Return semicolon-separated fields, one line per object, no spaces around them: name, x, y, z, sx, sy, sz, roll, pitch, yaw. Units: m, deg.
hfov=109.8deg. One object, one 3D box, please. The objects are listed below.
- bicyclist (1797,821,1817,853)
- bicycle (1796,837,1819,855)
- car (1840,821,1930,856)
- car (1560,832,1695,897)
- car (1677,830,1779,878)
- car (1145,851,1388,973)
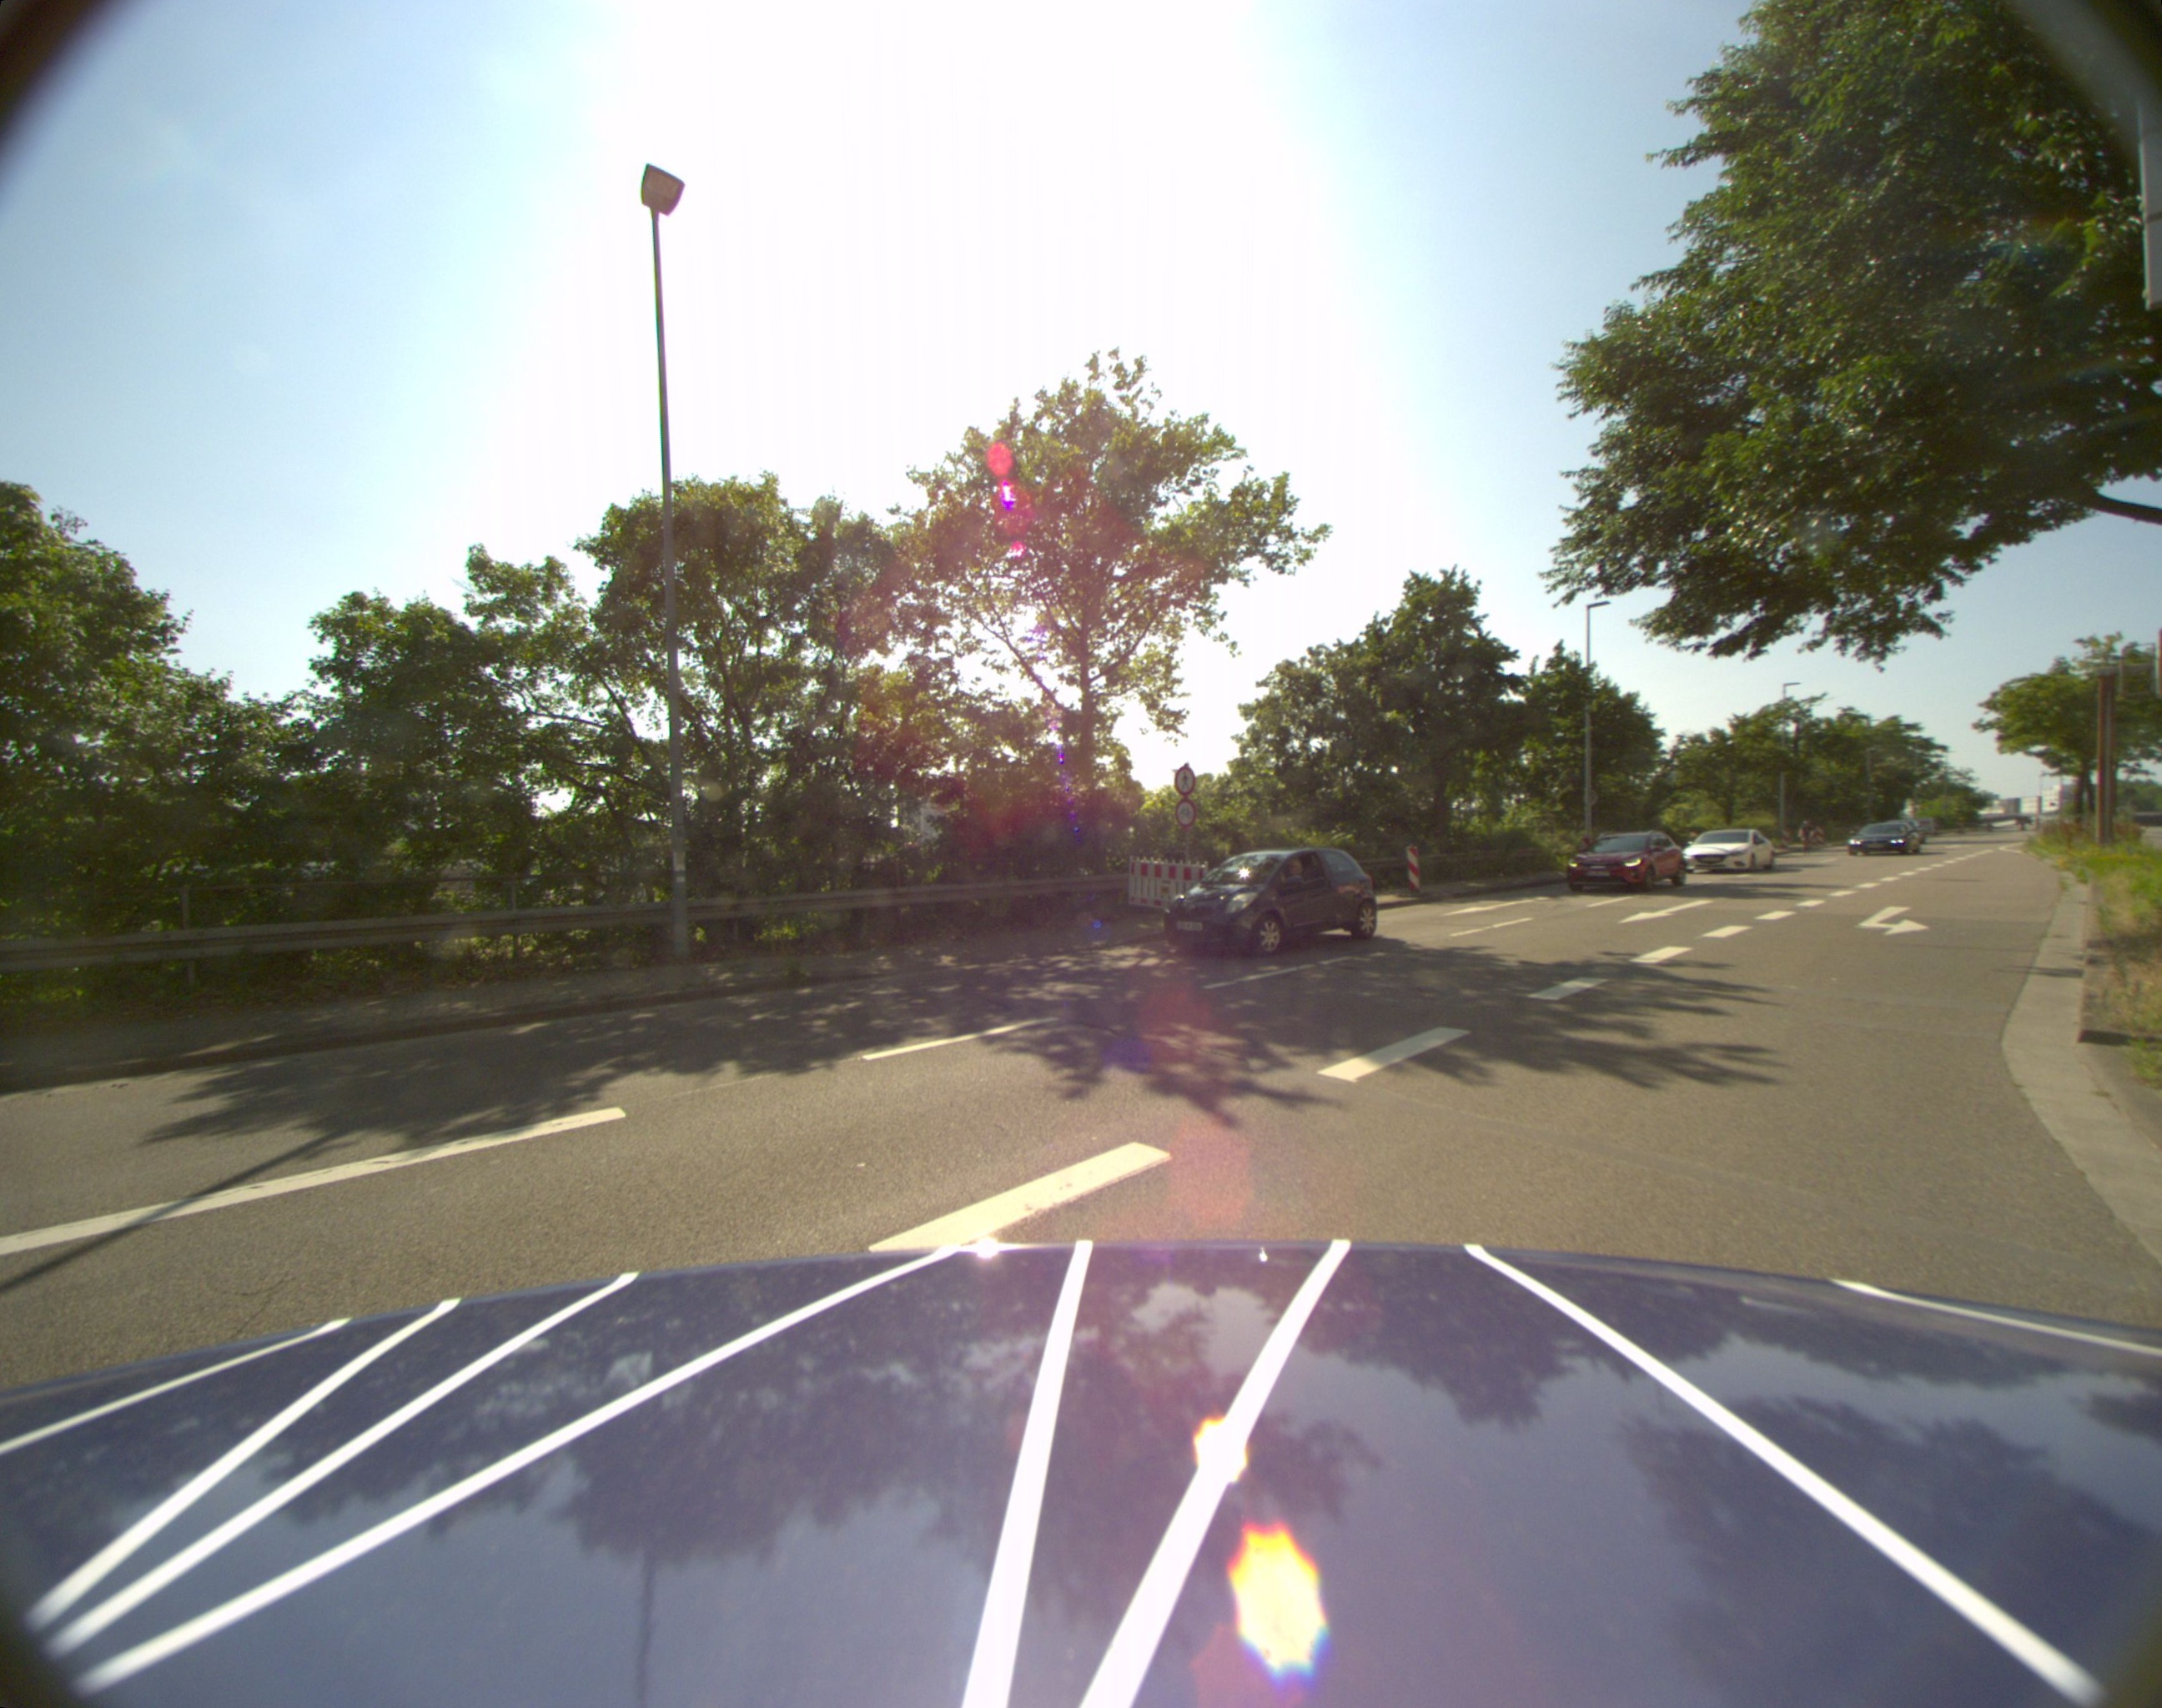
bicyclist;35.778;-0.829;37.421;0.780;1.525;0.573;-3;2;-36
bicycle;35.730;-0.411;37.376;1.809;0.828;0.494;-2;2;-36
car;36.753;-0.721;34.701;4.623;1.403;1.995;-2;1;-33
car;14.496;0.228;20.093;3.971;1.511;1.798;-2;1;-37
car;22.088;-0.018;25.910;4.212;1.444;1.865;-2;1;-39
car;2.923;0.771;11.669;3.656;1.492;1.642;-2;1;-37
